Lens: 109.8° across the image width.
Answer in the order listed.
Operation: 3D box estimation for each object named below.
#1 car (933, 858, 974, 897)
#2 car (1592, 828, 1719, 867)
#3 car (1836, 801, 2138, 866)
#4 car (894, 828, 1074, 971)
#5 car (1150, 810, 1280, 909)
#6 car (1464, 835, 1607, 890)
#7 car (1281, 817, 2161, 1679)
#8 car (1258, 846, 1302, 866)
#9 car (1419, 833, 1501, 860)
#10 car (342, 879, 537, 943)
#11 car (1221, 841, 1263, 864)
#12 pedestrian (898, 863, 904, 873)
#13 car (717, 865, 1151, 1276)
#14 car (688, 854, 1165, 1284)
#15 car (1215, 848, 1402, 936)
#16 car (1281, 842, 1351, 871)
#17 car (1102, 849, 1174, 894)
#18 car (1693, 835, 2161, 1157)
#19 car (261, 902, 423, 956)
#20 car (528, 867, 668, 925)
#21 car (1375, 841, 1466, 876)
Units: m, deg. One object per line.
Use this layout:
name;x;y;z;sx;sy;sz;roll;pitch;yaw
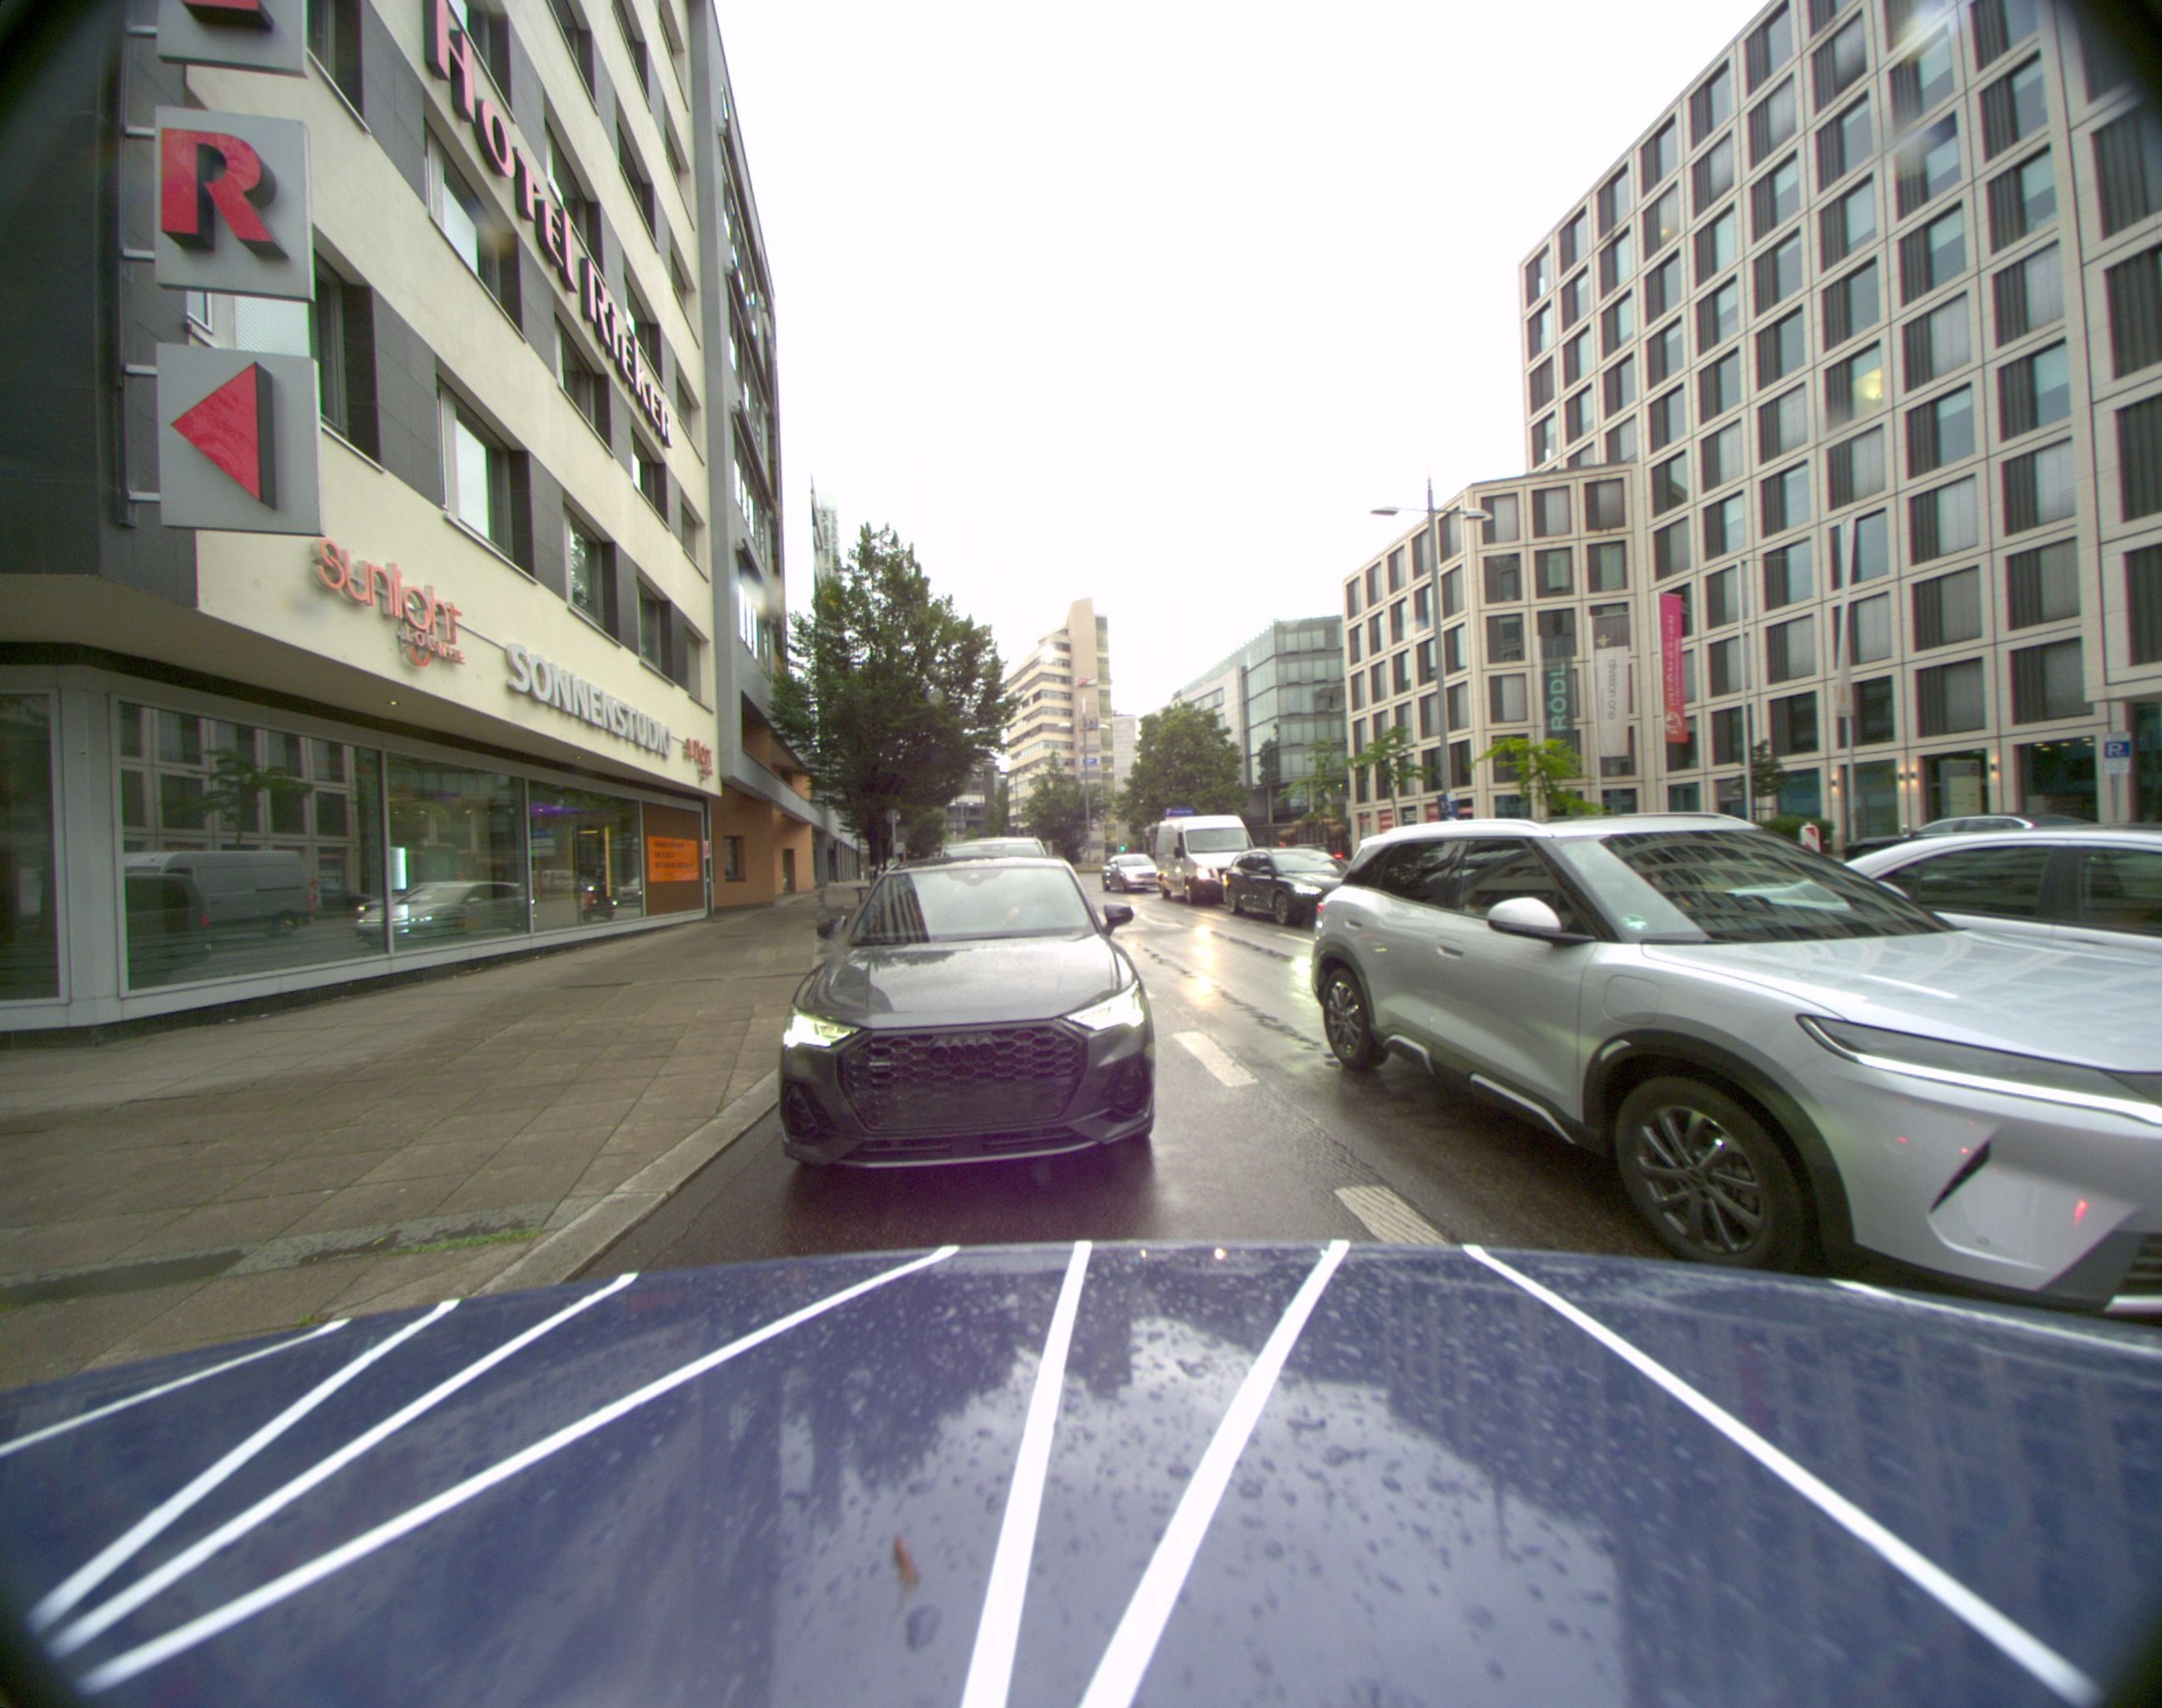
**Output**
car;-5.599;0.996;33.651;1.600;1.460;3.445;-4;1;-8
car;23.009;-0.251;30.620;1.703;1.415;3.951;-1;0;-12
car;24.637;-0.495;21.045;1.703;1.560;5.178;-1;0;-12
car;-1.378;0.587;13.092;2.059;1.881;5.049;-3;1;4
car;3.677;0.099;22.171;2.260;2.371;5.716;-3;1;-4
car;14.852;0.236;25.110;1.704;1.565;3.995;-4;1;-14
car;2.706;0.741;3.664;1.814;1.651;4.167;-4;1;-8
car;15.302;0.144;58.617;1.704;1.510;3.683;-1;0;-15
car;20.767;-0.386;41.830;1.703;1.415;4.369;-1;0;-12
car;-16.192;1.383;19.491;1.721;1.187;3.998;-3;1;-4
car;15.373;-0.135;73.016;2.000;2.002;4.910;-4;1;-13
pedestrian;-29.266;2.249;123.427;0.654;1.589;1.057;-4;2;-18
car;-0.656;0.917;5.193;1.681;1.462;4.151;-3;1;-2
car;-0.749;0.852;5.246;1.802;1.543;4.385;-3;1;-4
car;4.352;0.643;15.327;1.906;1.393;4.237;-4;1;-9
car;12.308;0.122;40.102;1.703;1.415;4.135;-1;0;-12
car;2.106;0.613;29.368;1.786;1.499;3.996;-4;1;-10
car;5.772;0.643;3.687;1.738;1.396;4.380;-4;1;-6
car;-24.054;2.419;24.871;3.391;1.322;1.564;-4;1;-15
car;-16.917;1.384;26.990;1.999;1.600;4.924;-3;1;-4
car;15.749;0.209;35.482;1.703;1.510;4.187;-1;0;-12
